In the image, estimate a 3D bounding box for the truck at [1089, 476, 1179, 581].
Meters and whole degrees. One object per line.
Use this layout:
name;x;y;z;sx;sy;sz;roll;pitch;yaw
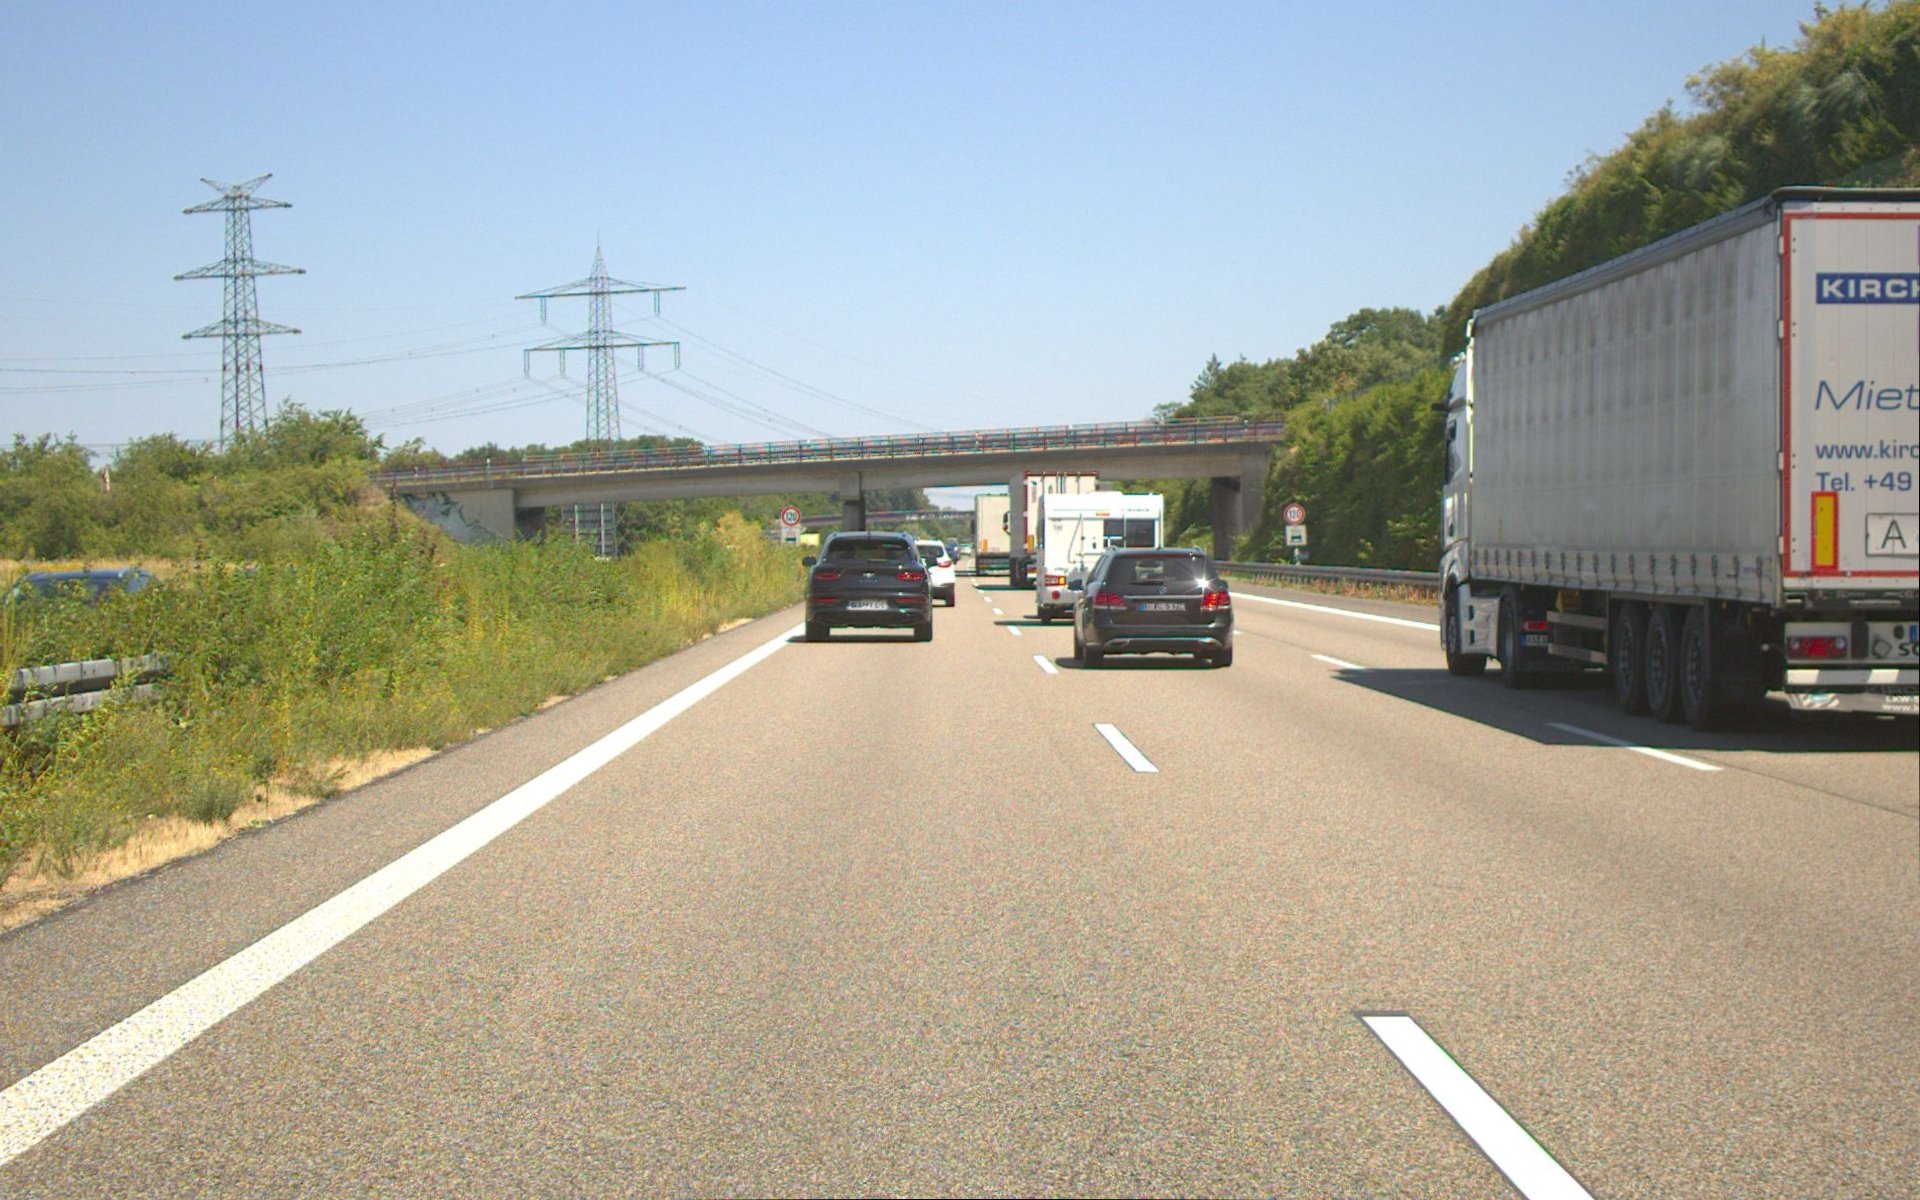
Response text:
truck;7.388;-3.046;147.041;3.119;4.265;10.168;-1;1;-1

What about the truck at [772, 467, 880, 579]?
truck;-5.125;-2.963;133.284;3.961;4.099;9.954;-1;1;-1

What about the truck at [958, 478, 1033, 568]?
truck;1.706;-3.820;171.546;3.409;4.265;10.608;-1;1;-1

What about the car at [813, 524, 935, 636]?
car;-1.369;-0.343;54.590;1.830;1.665;4.000;-1;1;-1

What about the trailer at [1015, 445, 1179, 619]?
trailer;2.639;-1.364;69.019;2.610;3.202;9.954;-1;1;-1

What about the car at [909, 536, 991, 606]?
car;-0.279;-0.744;85.332;1.829;1.665;4.001;-1;1;-3

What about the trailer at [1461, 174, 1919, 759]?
trailer;7.214;-1.084;30.988;3.183;4.107;13.432;-1;1;-1

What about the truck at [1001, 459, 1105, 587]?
truck;3.216;-2.704;122.117;3.119;4.265;11.934;-1;1;-1

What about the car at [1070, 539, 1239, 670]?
car;2.387;0.018;43.038;1.830;1.520;4.000;-1;1;0

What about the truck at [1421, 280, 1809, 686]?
truck;7.118;-1.259;38.169;3.135;4.127;5.504;-1;1;-1
